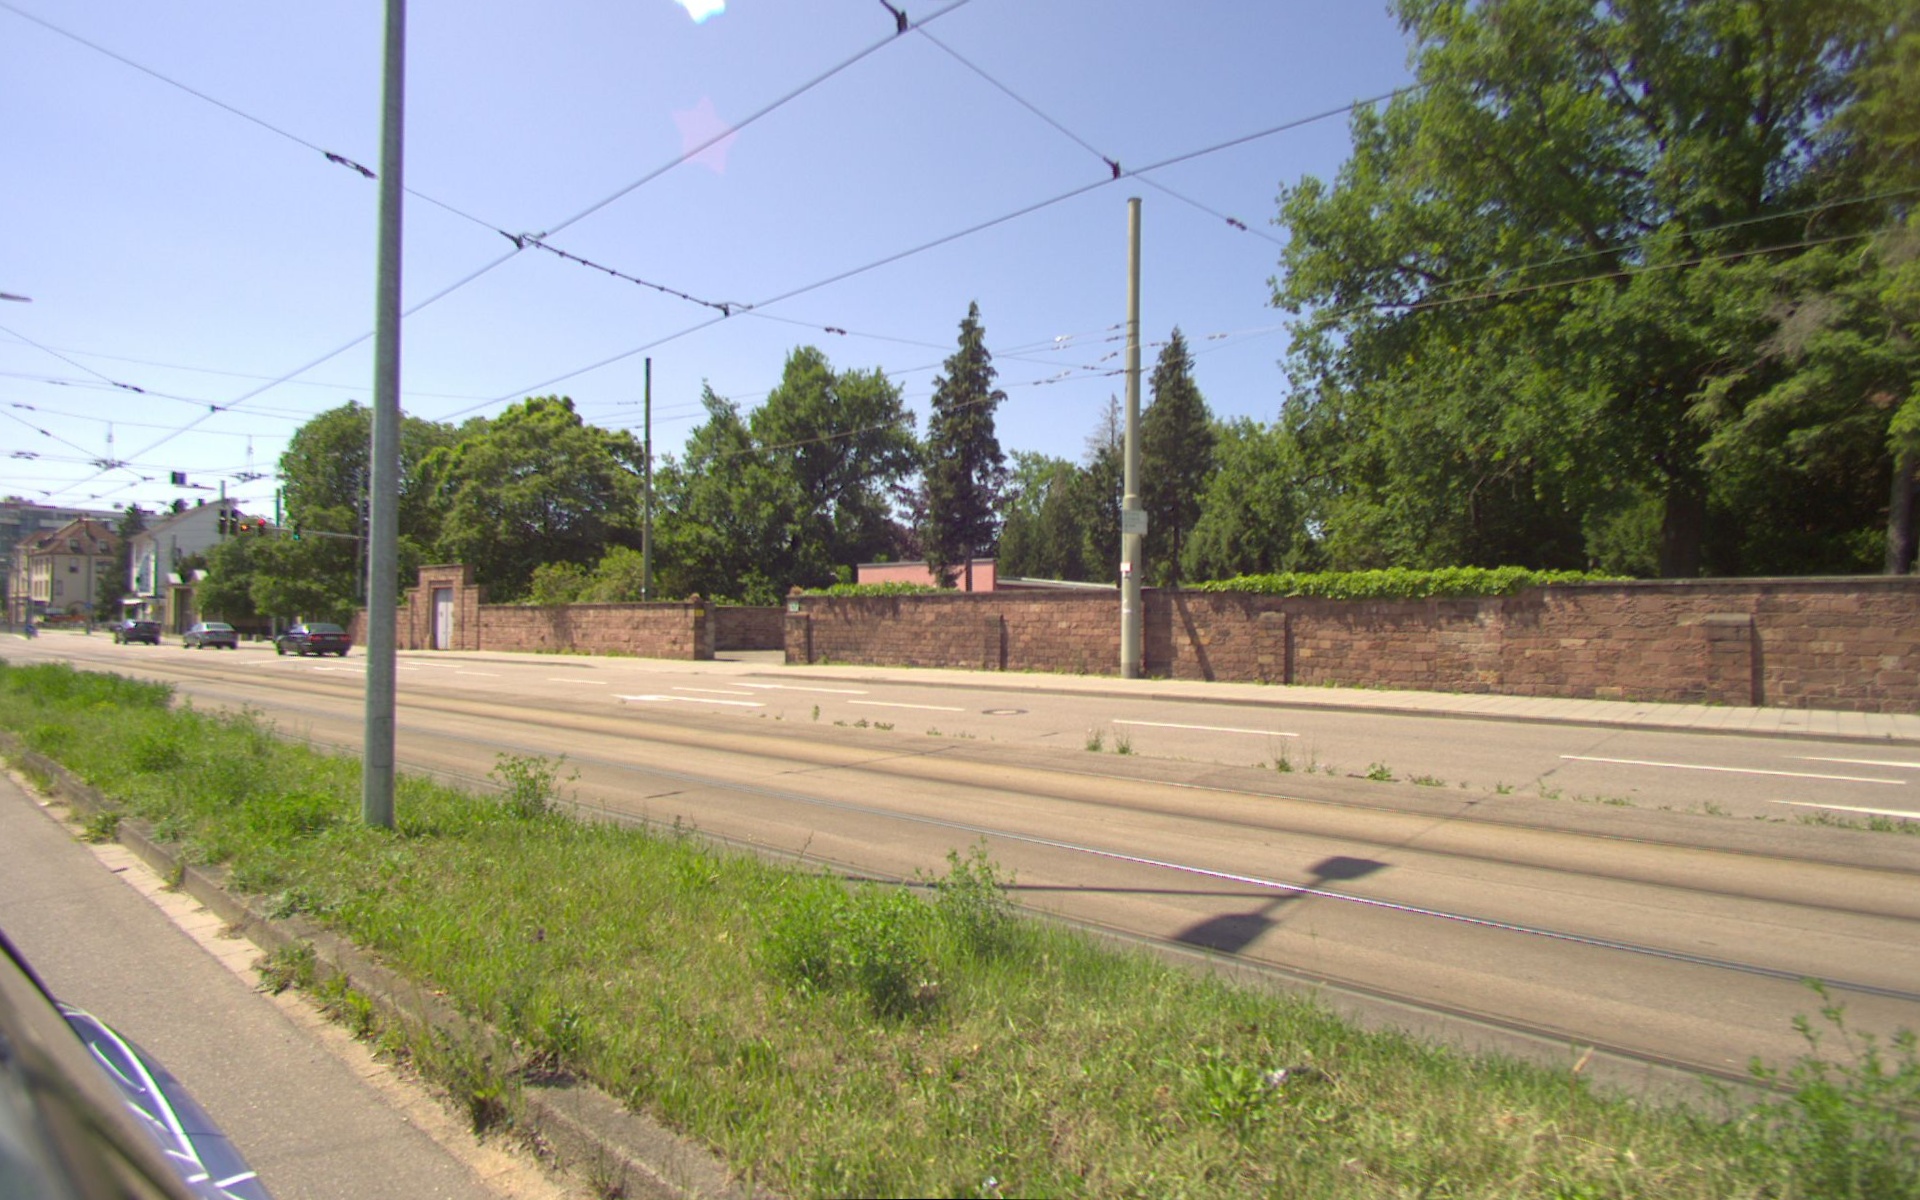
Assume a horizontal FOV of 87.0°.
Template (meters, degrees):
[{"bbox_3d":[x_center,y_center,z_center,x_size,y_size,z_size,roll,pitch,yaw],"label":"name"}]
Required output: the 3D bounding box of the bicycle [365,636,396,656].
[{"bbox_3d":[-28.304,2.236,49.422,2.112,0.964,0.646,-1,-1,40],"label":"bicycle"}]

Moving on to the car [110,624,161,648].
[{"bbox_3d":[-54.326,2.361,66.648,4.462,1.567,1.822,-1,-2,41],"label":"car"}]

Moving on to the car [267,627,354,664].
[{"bbox_3d":[-28.097,1.925,43.717,5.031,1.427,1.821,-1,1,41],"label":"car"}]

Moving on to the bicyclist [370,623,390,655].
[{"bbox_3d":[-28.330,1.894,49.447,0.662,1.508,0.646,-1,-2,39],"label":"bicyclist"}]

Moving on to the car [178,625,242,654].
[{"bbox_3d":[-40.743,2.140,54.952,4.708,1.427,1.821,-1,1,41],"label":"car"}]
